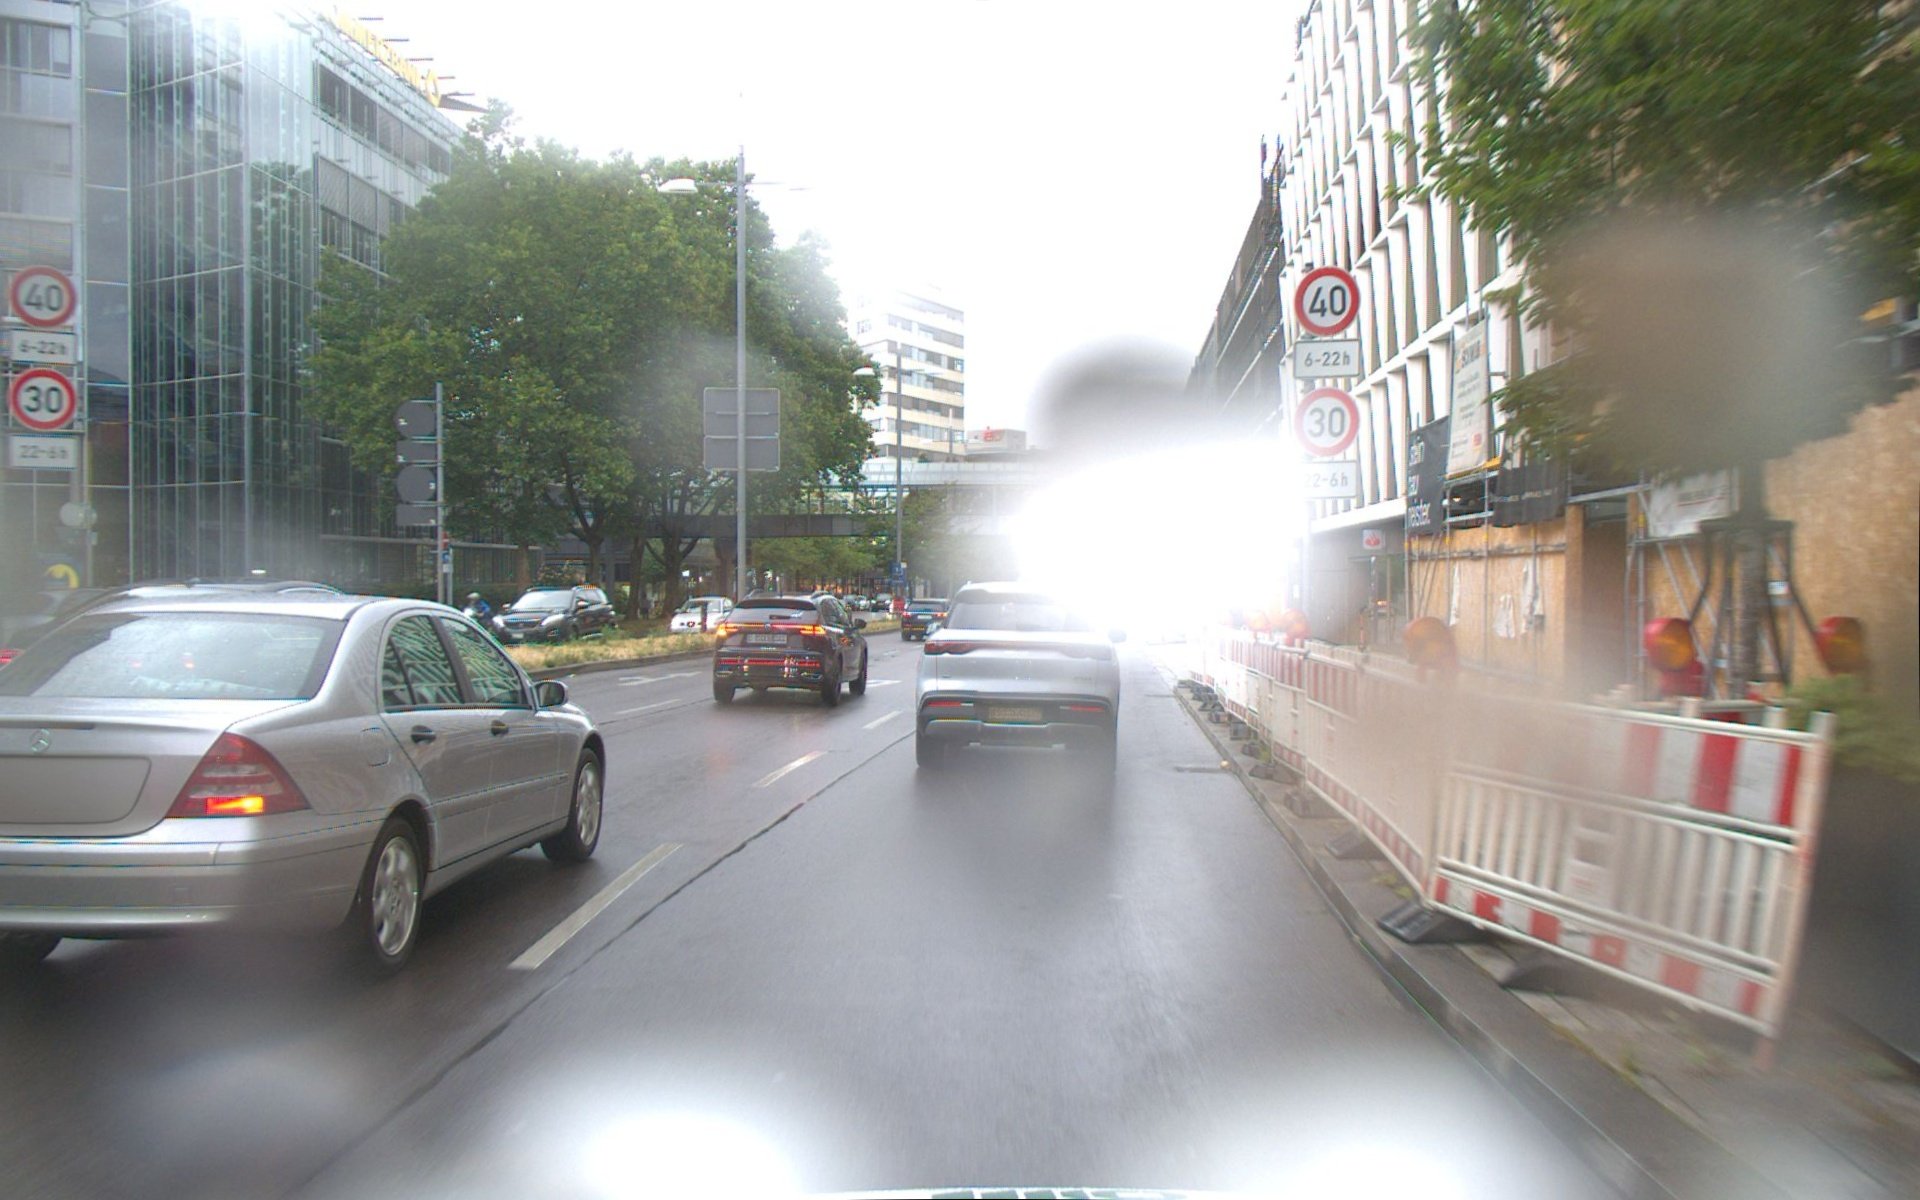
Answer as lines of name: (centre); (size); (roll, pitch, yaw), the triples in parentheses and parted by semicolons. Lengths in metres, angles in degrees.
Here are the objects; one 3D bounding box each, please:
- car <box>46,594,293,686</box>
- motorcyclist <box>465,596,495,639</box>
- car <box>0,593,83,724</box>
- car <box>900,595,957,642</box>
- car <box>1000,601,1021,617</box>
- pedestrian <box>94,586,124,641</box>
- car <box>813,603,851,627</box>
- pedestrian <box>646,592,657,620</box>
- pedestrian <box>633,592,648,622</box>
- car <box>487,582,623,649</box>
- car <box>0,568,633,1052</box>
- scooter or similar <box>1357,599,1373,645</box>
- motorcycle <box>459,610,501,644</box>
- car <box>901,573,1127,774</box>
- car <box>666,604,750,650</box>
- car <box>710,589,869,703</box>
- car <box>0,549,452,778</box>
car: (-13.528, 0.657, 28.629); (1.690, 1.458, 4.399); (0, -1, 8)
motorcyclist: (-14.251, 0.507, 49.128); (0.660, 1.260, 0.620); (1, 0, 6)
car: (-11.822, 0.648, 17.991); (1.820, 1.467, 4.316); (0, -1, 8)
car: (-1.086, 0.631, 58.662); (1.774, 1.606, 4.001); (1, 0, 2)
car: (4.617, 0.805, 150.779); (1.618, 1.365, 4.003); (1, 0, 7)
pedestrian: (-24.943, 0.391, 48.485); (0.656, 1.598, 0.818); (0, 1, -17)
car: (-8.142, 0.958, 105.688); (1.655, 1.463, 4.762); (0, -1, 5)
pedestrian: (-18.945, 0.384, 101.585); (0.547, 1.715, 0.511); (1, 0, 4)
pedestrian: (-19.654, 0.413, 101.687); (0.707, 1.839, 0.618); (1, 0, 5)
car: (-9.355, 0.364, 38.581); (1.664, 1.462, 4.585); (0, -1, 5)
car: (-2.847, 0.689, 7.437); (1.637, 1.505, 4.362); (1, -1, 3)
scooter or similar: (11.128, 0.597, 45.491); (0.403, 1.258, 1.190); (1, 0, 14)
motorcycle: (-14.248, 0.796, 49.106); (0.679, 0.987, 1.397); (1, 0, 6)
car: (0.616, 0.612, 15.699); (1.861, 1.650, 4.002); (0, 0, 5)
car: (-7.854, 0.842, 51.865); (1.563, 1.384, 4.119); (0, -1, 7)
car: (-2.338, 0.617, 23.613); (1.737, 1.482, 4.000); (0, -1, 1)
car: (-6.189, 0.386, 14.093); (1.833, 1.504, 4.882); (-2, 2, 4)
